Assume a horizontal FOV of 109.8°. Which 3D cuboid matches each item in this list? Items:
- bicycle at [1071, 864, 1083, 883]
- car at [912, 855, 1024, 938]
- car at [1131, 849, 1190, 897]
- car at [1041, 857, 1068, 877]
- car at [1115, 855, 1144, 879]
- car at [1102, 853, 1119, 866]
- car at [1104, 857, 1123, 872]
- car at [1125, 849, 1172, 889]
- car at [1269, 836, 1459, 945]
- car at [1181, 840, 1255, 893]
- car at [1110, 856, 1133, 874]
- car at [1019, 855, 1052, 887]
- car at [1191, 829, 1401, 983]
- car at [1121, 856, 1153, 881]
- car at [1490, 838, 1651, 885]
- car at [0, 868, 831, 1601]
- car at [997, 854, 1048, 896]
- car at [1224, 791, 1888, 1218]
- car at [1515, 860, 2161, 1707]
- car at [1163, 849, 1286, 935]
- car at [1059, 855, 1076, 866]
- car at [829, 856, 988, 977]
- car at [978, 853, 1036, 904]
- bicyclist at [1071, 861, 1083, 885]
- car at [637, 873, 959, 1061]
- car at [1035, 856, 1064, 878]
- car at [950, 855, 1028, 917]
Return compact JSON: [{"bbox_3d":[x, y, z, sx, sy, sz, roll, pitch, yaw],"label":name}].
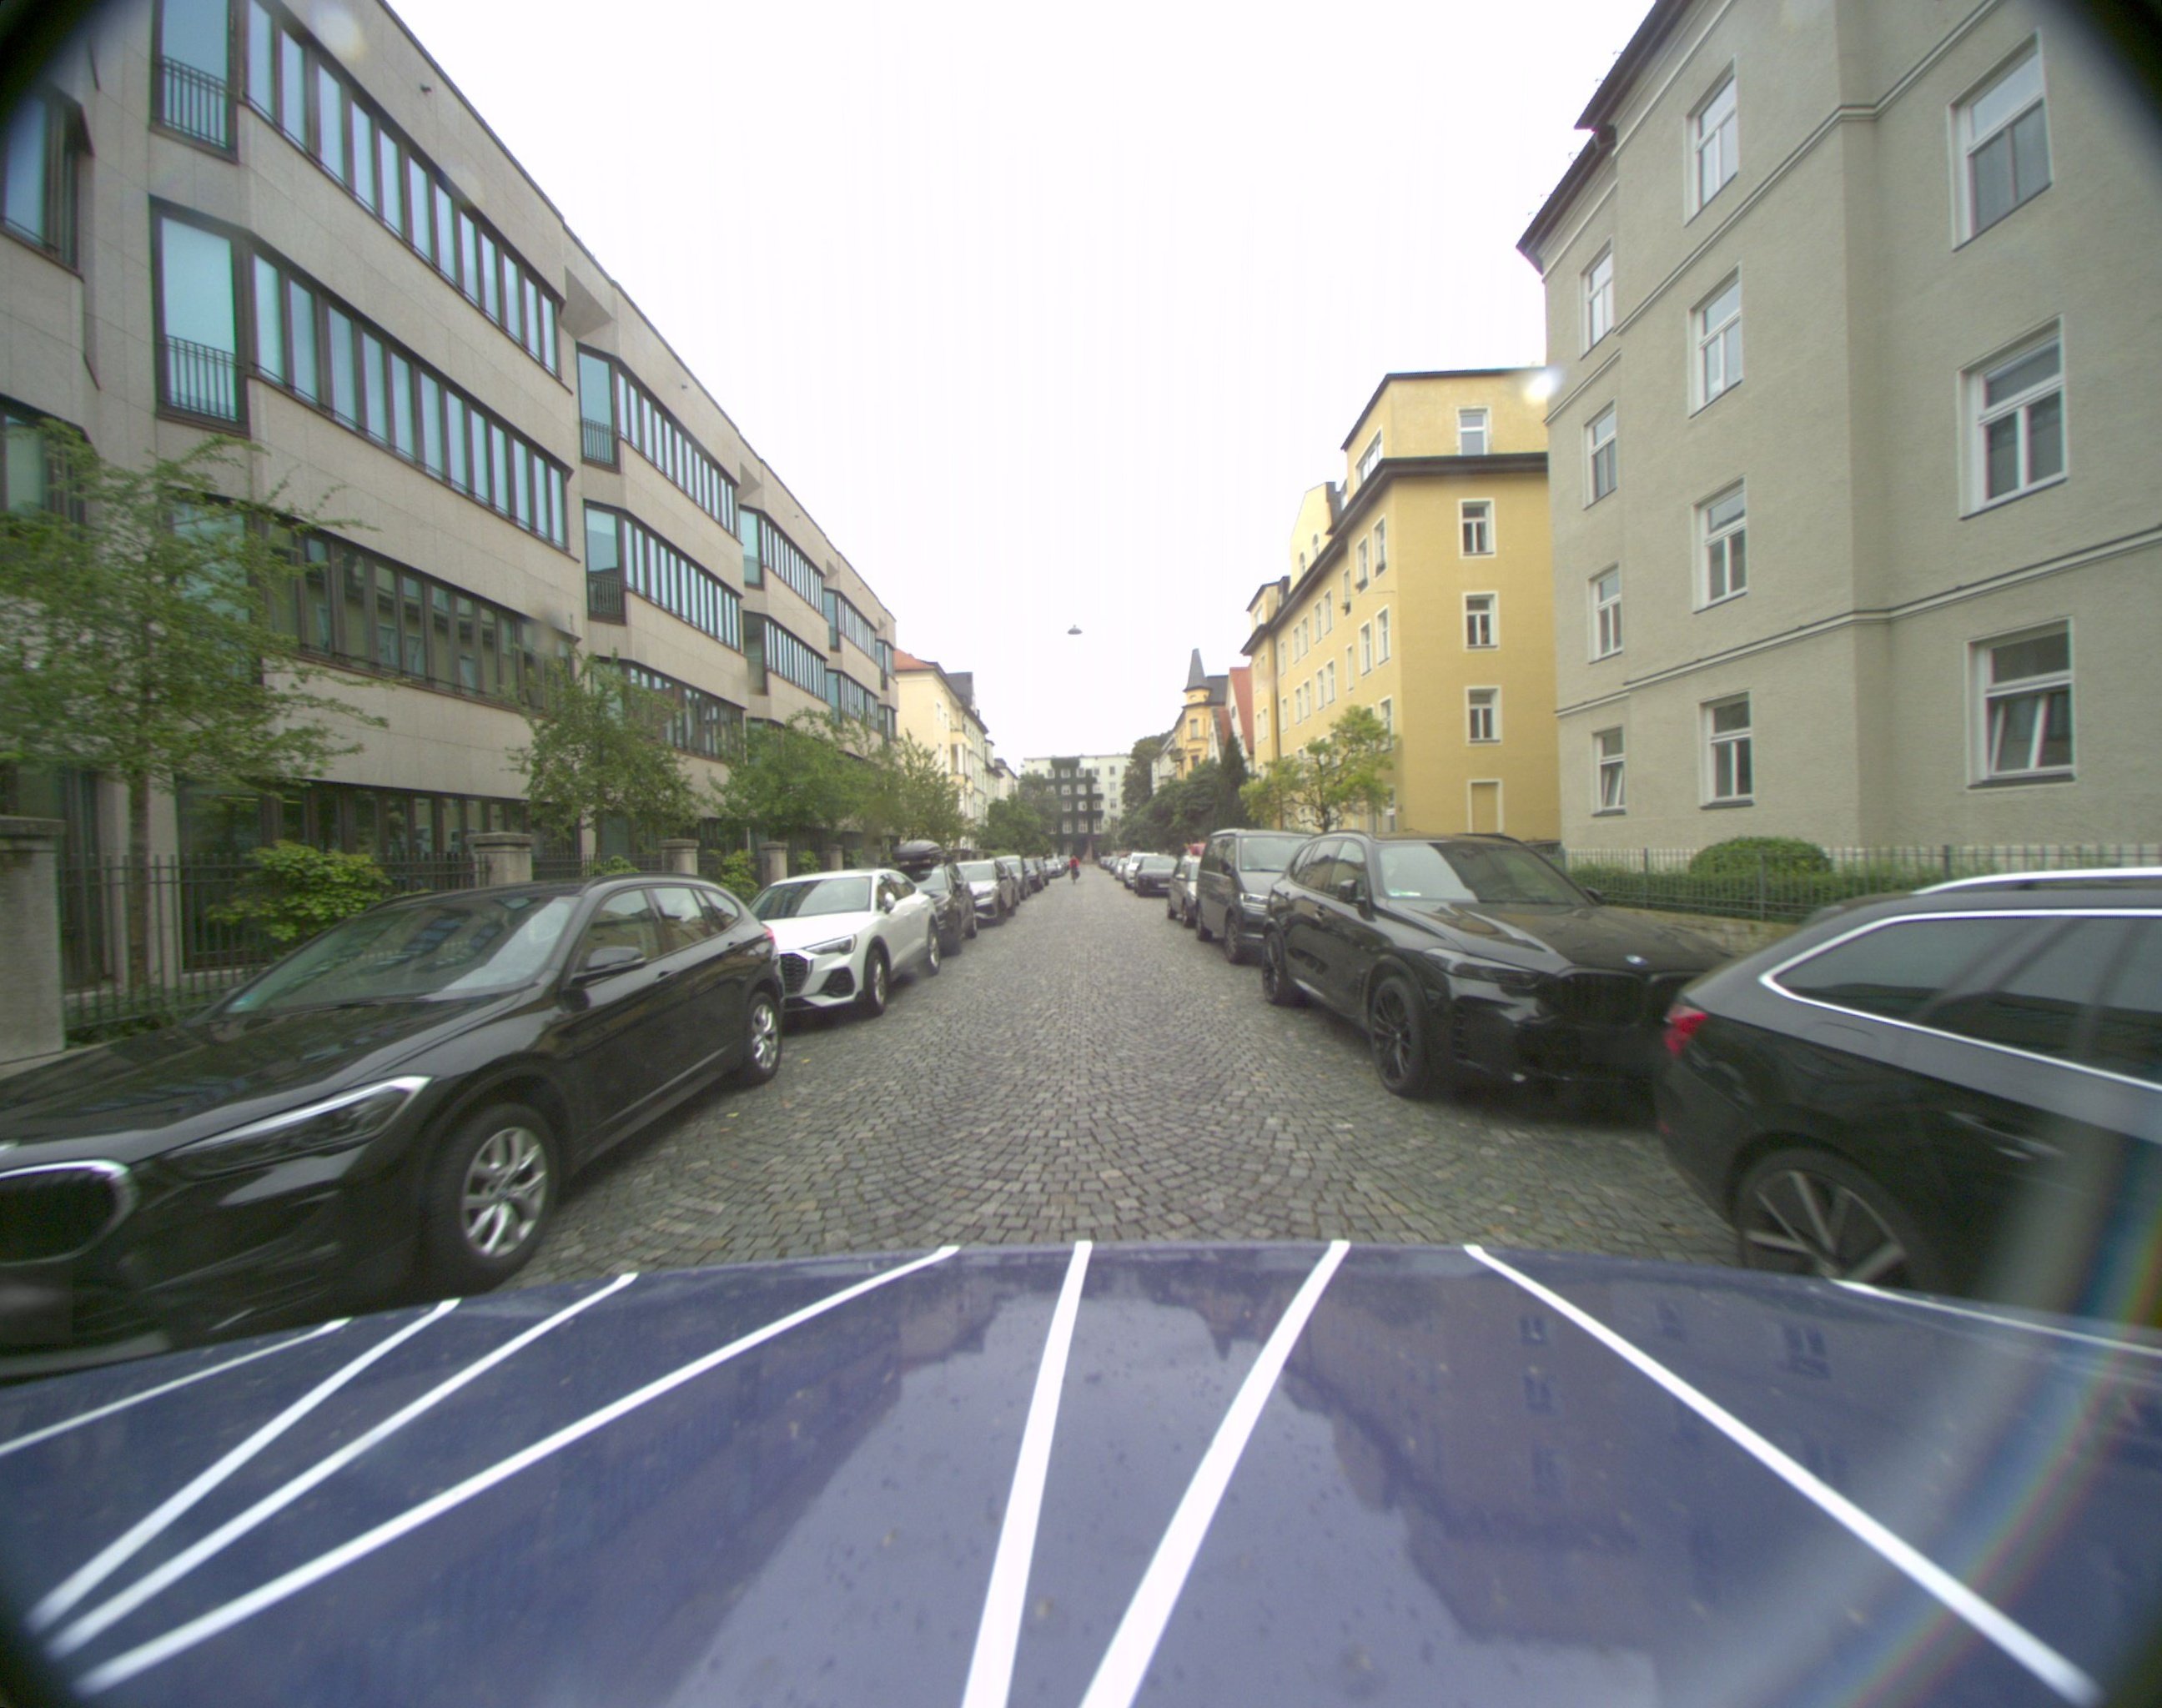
[{"bbox_3d":[-0.224,1.117,44.443,0.636,1.021,1.955,-2,1,0],"label":"bicycle"},{"bbox_3d":[-2.743,0.958,19.580,1.877,1.725,4.892,-4,0,2],"label":"car"},{"bbox_3d":[3.129,0.707,30.757,1.922,1.725,4.755,2,0,1],"label":"car"},{"bbox_3d":[-2.267,1.113,66.398,1.998,1.543,4.986,-3,0,2],"label":"car"},{"bbox_3d":[3.187,0.818,50.694,1.718,1.553,4.390,0,0,1],"label":"car"},{"bbox_3d":[3.730,0.716,96.539,1.846,1.576,4.191,-1,0,-1],"label":"car"},{"bbox_3d":[3.536,1.171,84.228,1.744,1.576,4.191,-1,0,-2],"label":"car"},{"bbox_3d":[3.231,0.677,37.321,2.011,1.798,5.174,0,0,2],"label":"car"},{"bbox_3d":[5.405,0.620,15.281,1.950,1.725,4.657,-5,0,0],"label":"car"},{"bbox_3d":[5.627,0.477,31.843,1.999,1.920,5.330,-3,0,0],"label":"car"},{"bbox_3d":[3.488,0.900,66.422,1.819,1.447,4.913,1,0,2],"label":"car"},{"bbox_3d":[-2.652,0.971,45.107,1.623,1.740,3.887,-5,0,-1],"label":"car"},{"bbox_3d":[3.022,0.647,11.860,1.878,1.906,4.827,0,0,0],"label":"car"},{"bbox_3d":[3.354,0.856,46.129,1.734,1.410,3.936,0,0,1],"label":"car"},{"bbox_3d":[15.913,0.225,24.840,4.077,1.415,1.833,-1,1,1],"label":"car"},{"bbox_3d":[-3.170,1.024,4.173,1.878,1.660,4.657,-4,0,1],"label":"car"},{"bbox_3d":[-2.727,0.948,36.568,1.865,1.692,4.813,-5,0,1],"label":"car"},{"bbox_3d":[2.658,0.693,6.065,1.998,1.906,5.177,2,0,0],"label":"car"},{"bbox_3d":[2.795,0.804,0.746,1.983,1.552,5.017,0,0,2],"label":"car"},{"bbox_3d":[3.139,0.783,17.592,1.870,1.725,4.403,1,0,-2],"label":"car"},{"bbox_3d":[-1.873,0.936,107.997,1.942,1.457,4.532,-4,0,3],"label":"car"},{"bbox_3d":[-2.993,0.985,14.284,1.878,1.725,4.747,-5,0,-2],"label":"car"},{"bbox_3d":[-2.940,0.926,31.129,1.793,1.786,4.509,-6,0,-1],"label":"car"},{"bbox_3d":[-0.223,1.125,44.460,0.648,1.350,0.656,-3,1,0],"label":"bicyclist"},{"bbox_3d":[-2.928,1.084,9.149,1.877,1.481,4.617,-4,0,3],"label":"car"},{"bbox_3d":[-2.480,1.008,61.166,1.998,1.543,5.014,-4,0,1],"label":"car"},{"bbox_3d":[-2.946,0.971,25.325,1.878,1.725,4.658,-6,0,0],"label":"car"}]
